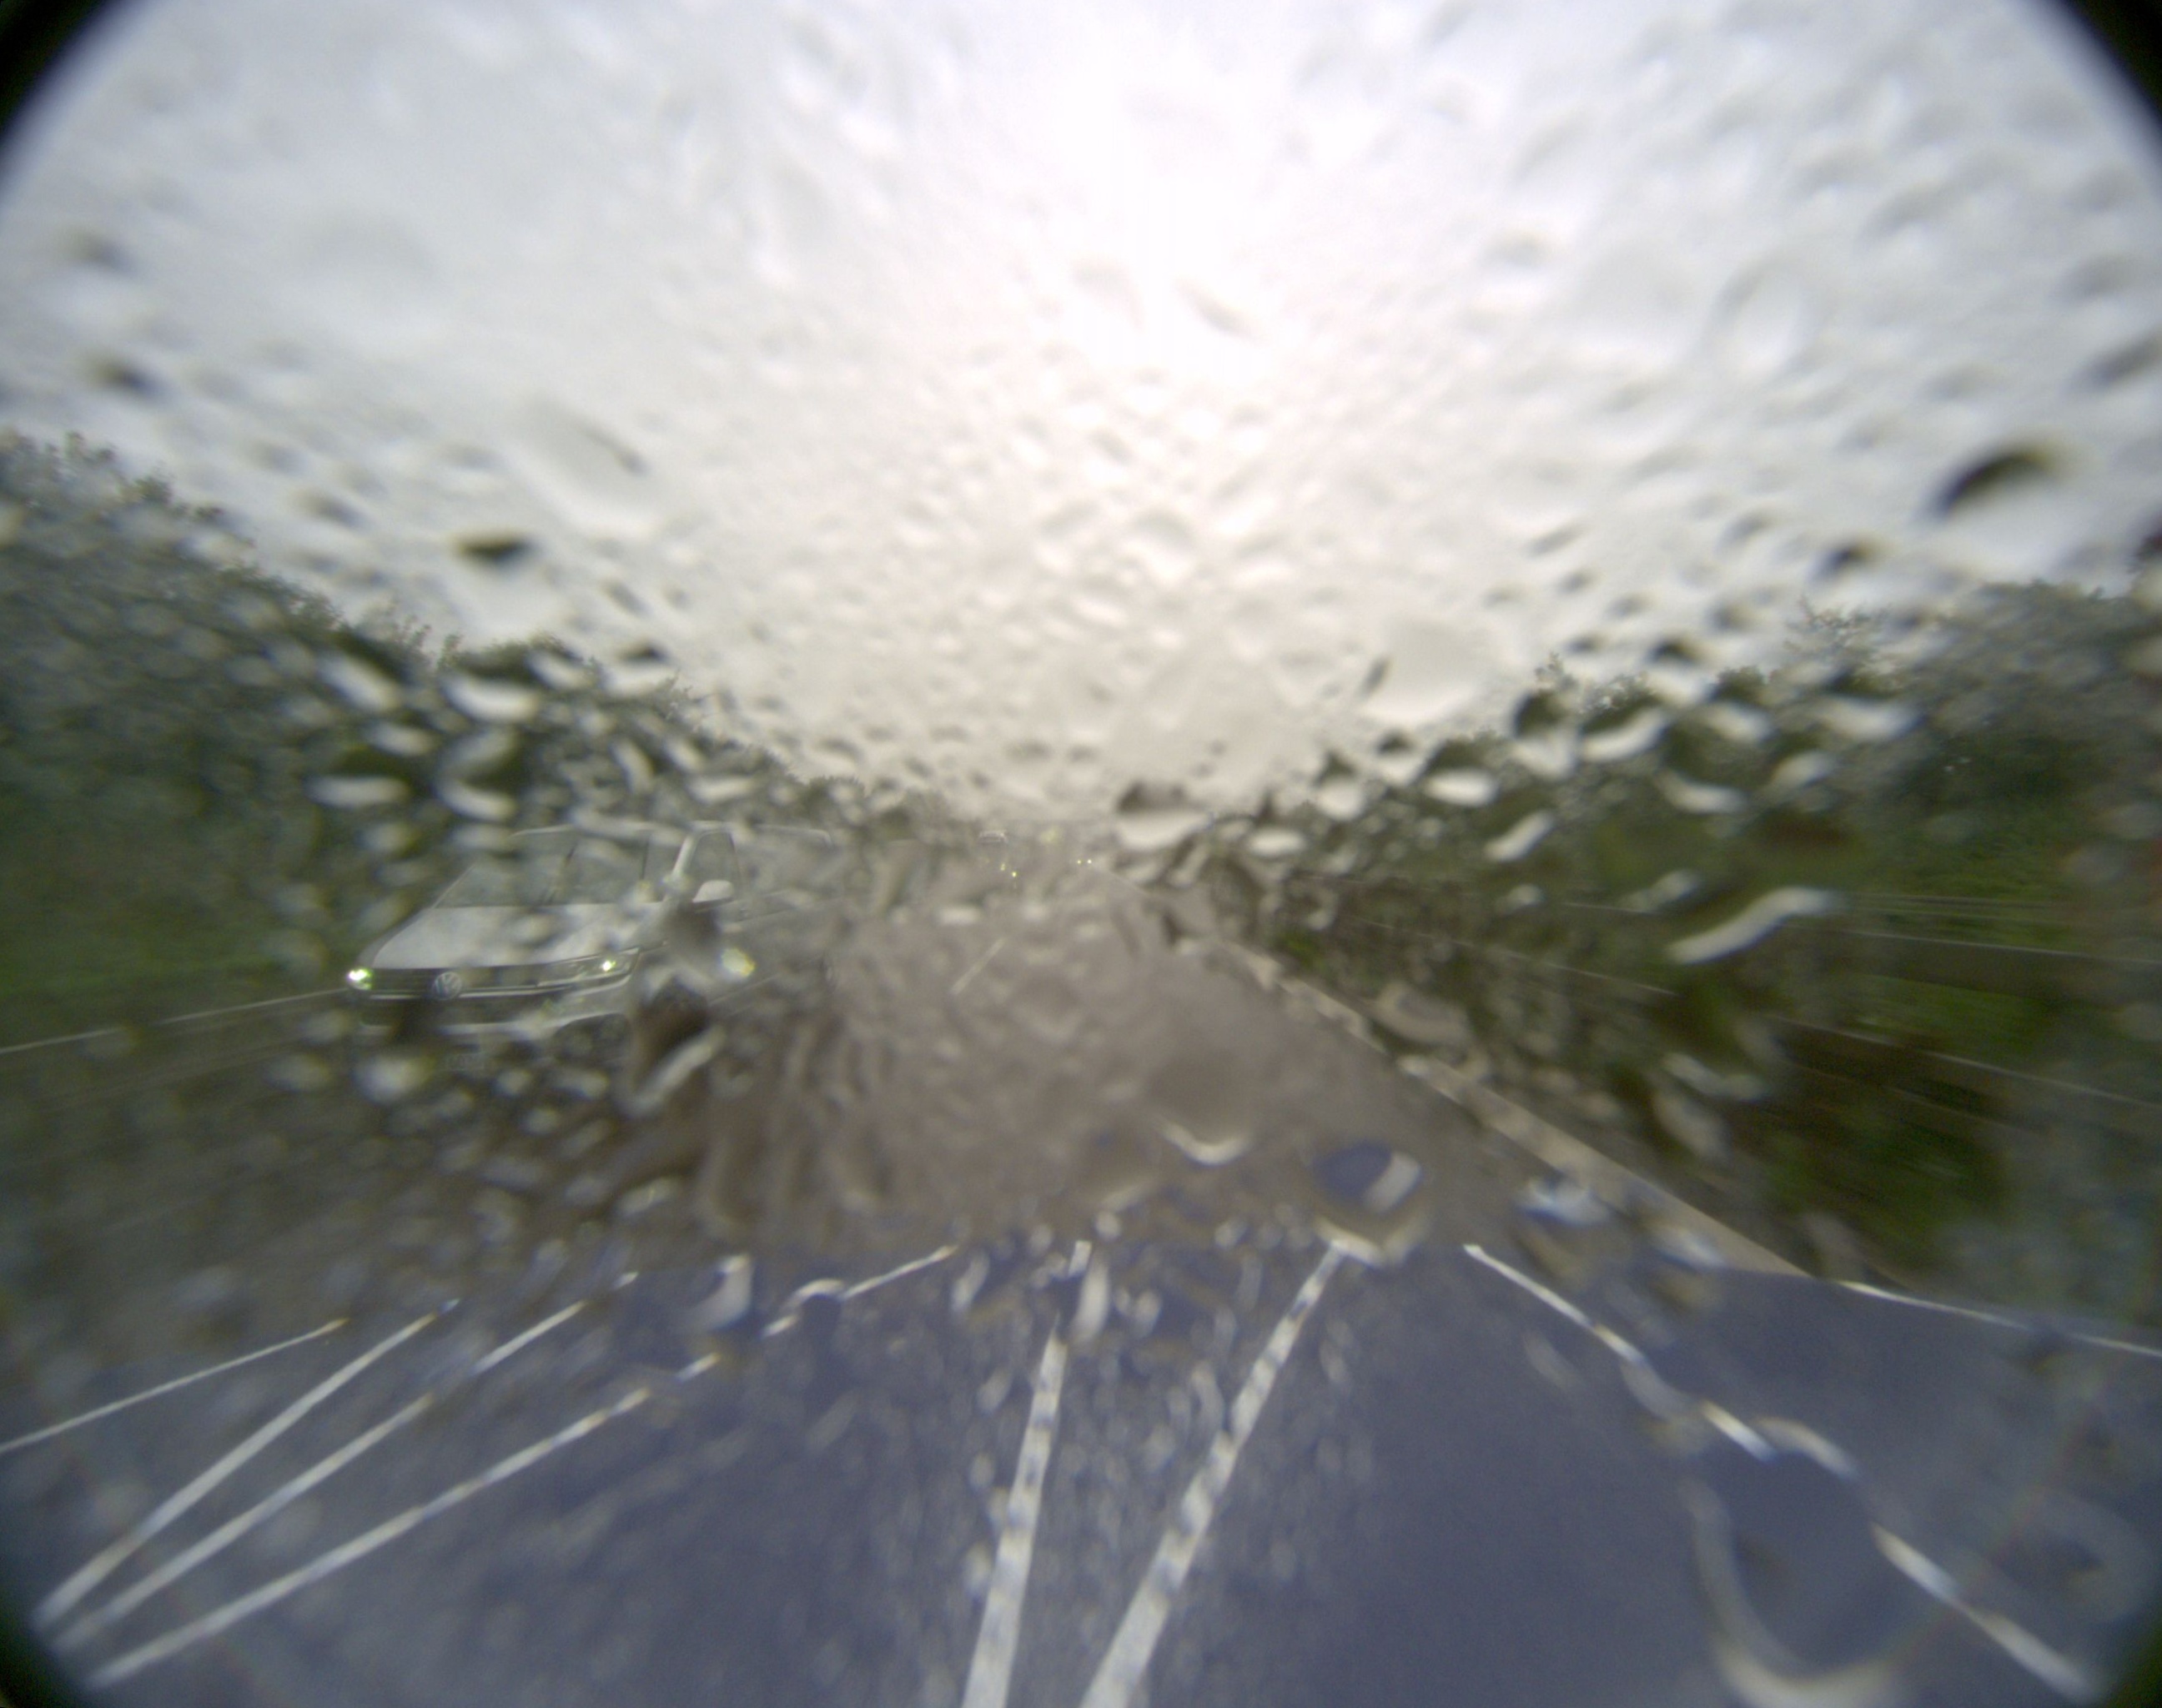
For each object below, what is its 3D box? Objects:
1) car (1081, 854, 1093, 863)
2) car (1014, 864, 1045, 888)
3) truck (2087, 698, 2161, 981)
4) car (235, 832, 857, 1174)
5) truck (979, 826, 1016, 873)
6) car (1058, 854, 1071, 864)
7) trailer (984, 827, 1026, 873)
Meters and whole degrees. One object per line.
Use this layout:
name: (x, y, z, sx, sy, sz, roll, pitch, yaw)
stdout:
car: (0.940, 0.694, 117.574, 1.769, 1.448, 3.959, -1, 0, 0)
car: (-3.431, 1.444, 51.352, 1.769, 1.448, 3.959, -1, 0, 0)
truck: (17.375, -0.221, 6.415, 2.704, 4.206, 11.352, -2, 0, 0)
car: (-3.712, 0.823, 6.734, 1.892, 1.873, 5.009, -1, 0, 0)
truck: (-7.469, -0.390, 68.330, 2.619, 4.064, 5.238, -1, 0, 0)
car: (-2.574, 0.820, 118.516, 1.769, 1.448, 3.959, -1, 0, 0)
trailer: (-7.370, -0.410, 75.688, 2.618, 4.064, 13.790, -1, 0, 1)
